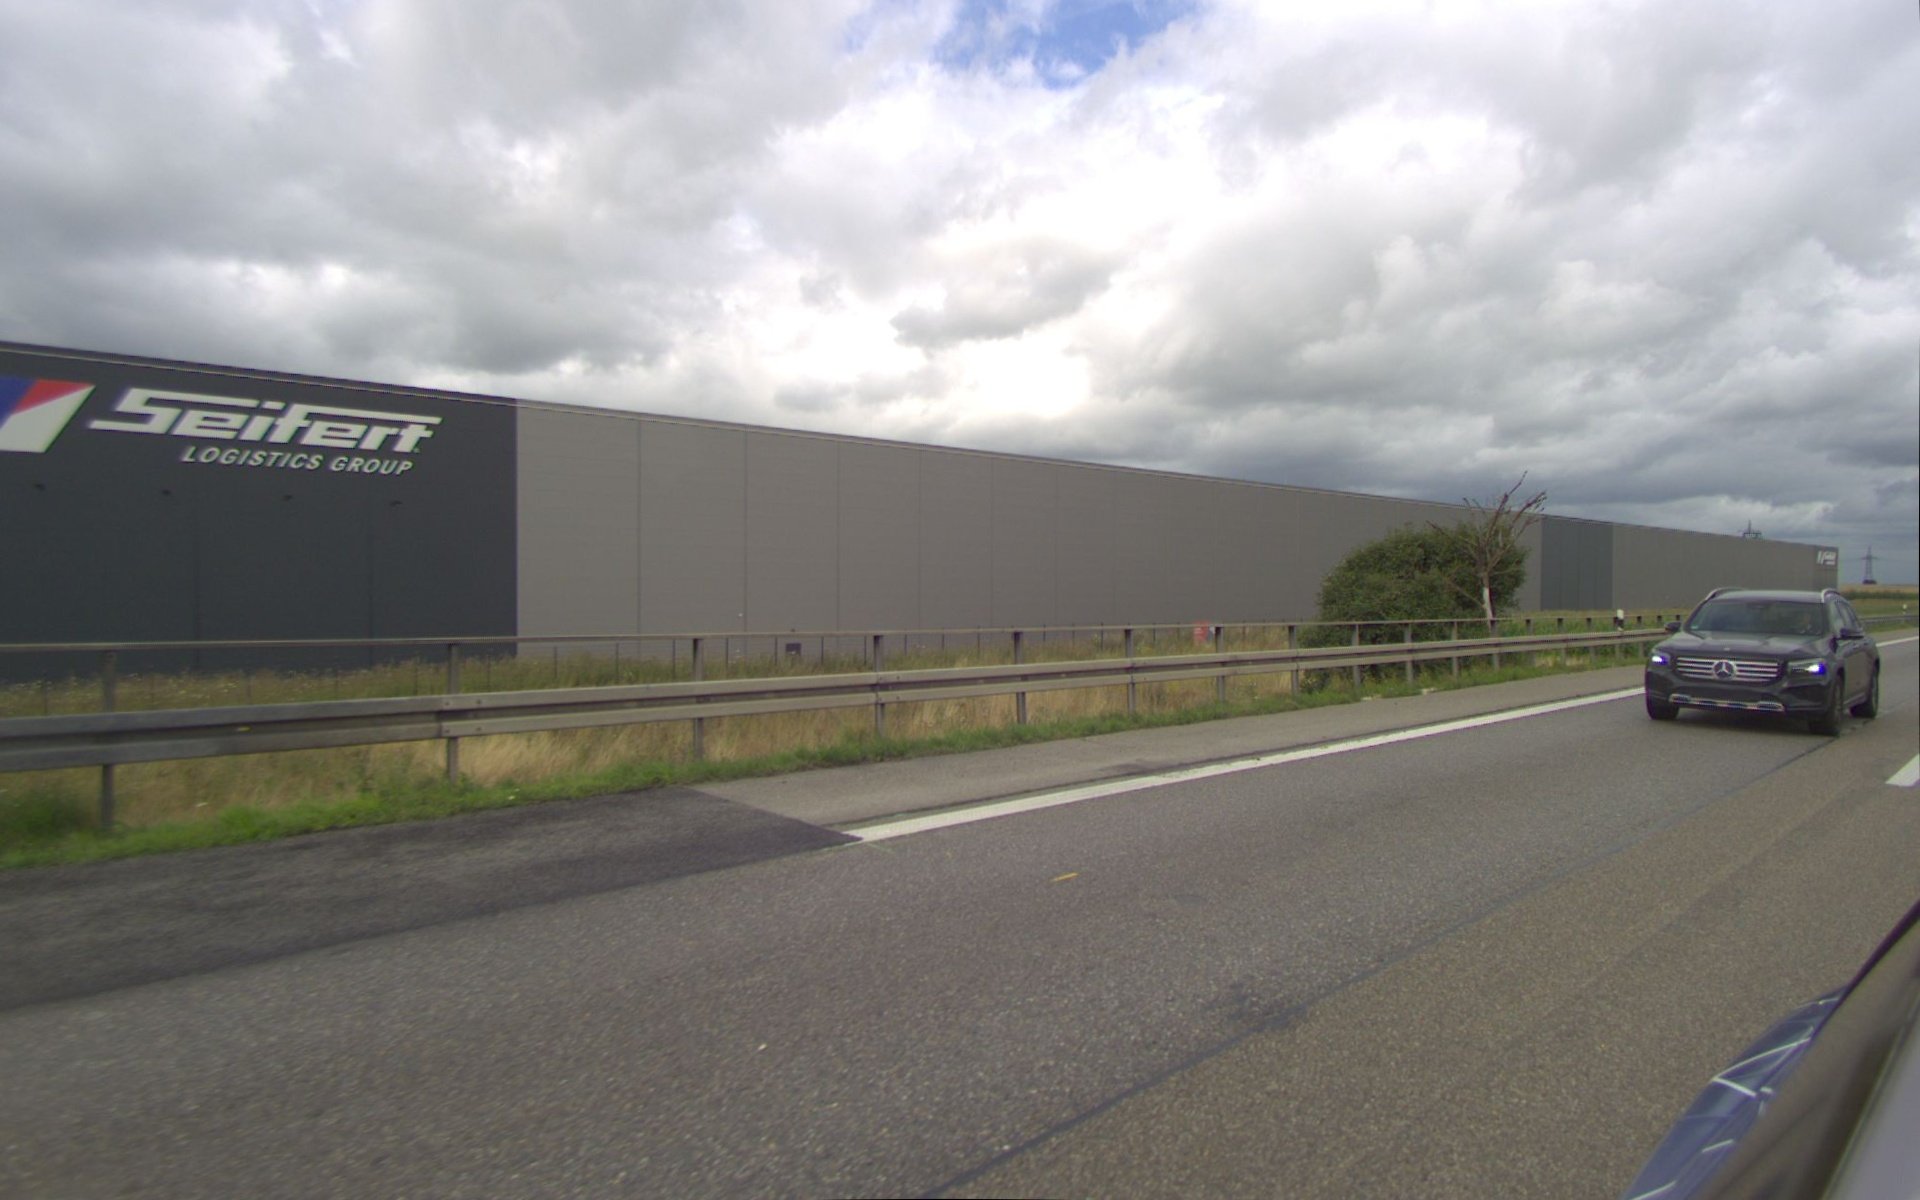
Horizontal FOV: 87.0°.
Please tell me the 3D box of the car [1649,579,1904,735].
[{"bbox_3d":[10.535,0.566,12.949,4.285,1.629,1.836,-1,3,-42],"label":"car"}]
